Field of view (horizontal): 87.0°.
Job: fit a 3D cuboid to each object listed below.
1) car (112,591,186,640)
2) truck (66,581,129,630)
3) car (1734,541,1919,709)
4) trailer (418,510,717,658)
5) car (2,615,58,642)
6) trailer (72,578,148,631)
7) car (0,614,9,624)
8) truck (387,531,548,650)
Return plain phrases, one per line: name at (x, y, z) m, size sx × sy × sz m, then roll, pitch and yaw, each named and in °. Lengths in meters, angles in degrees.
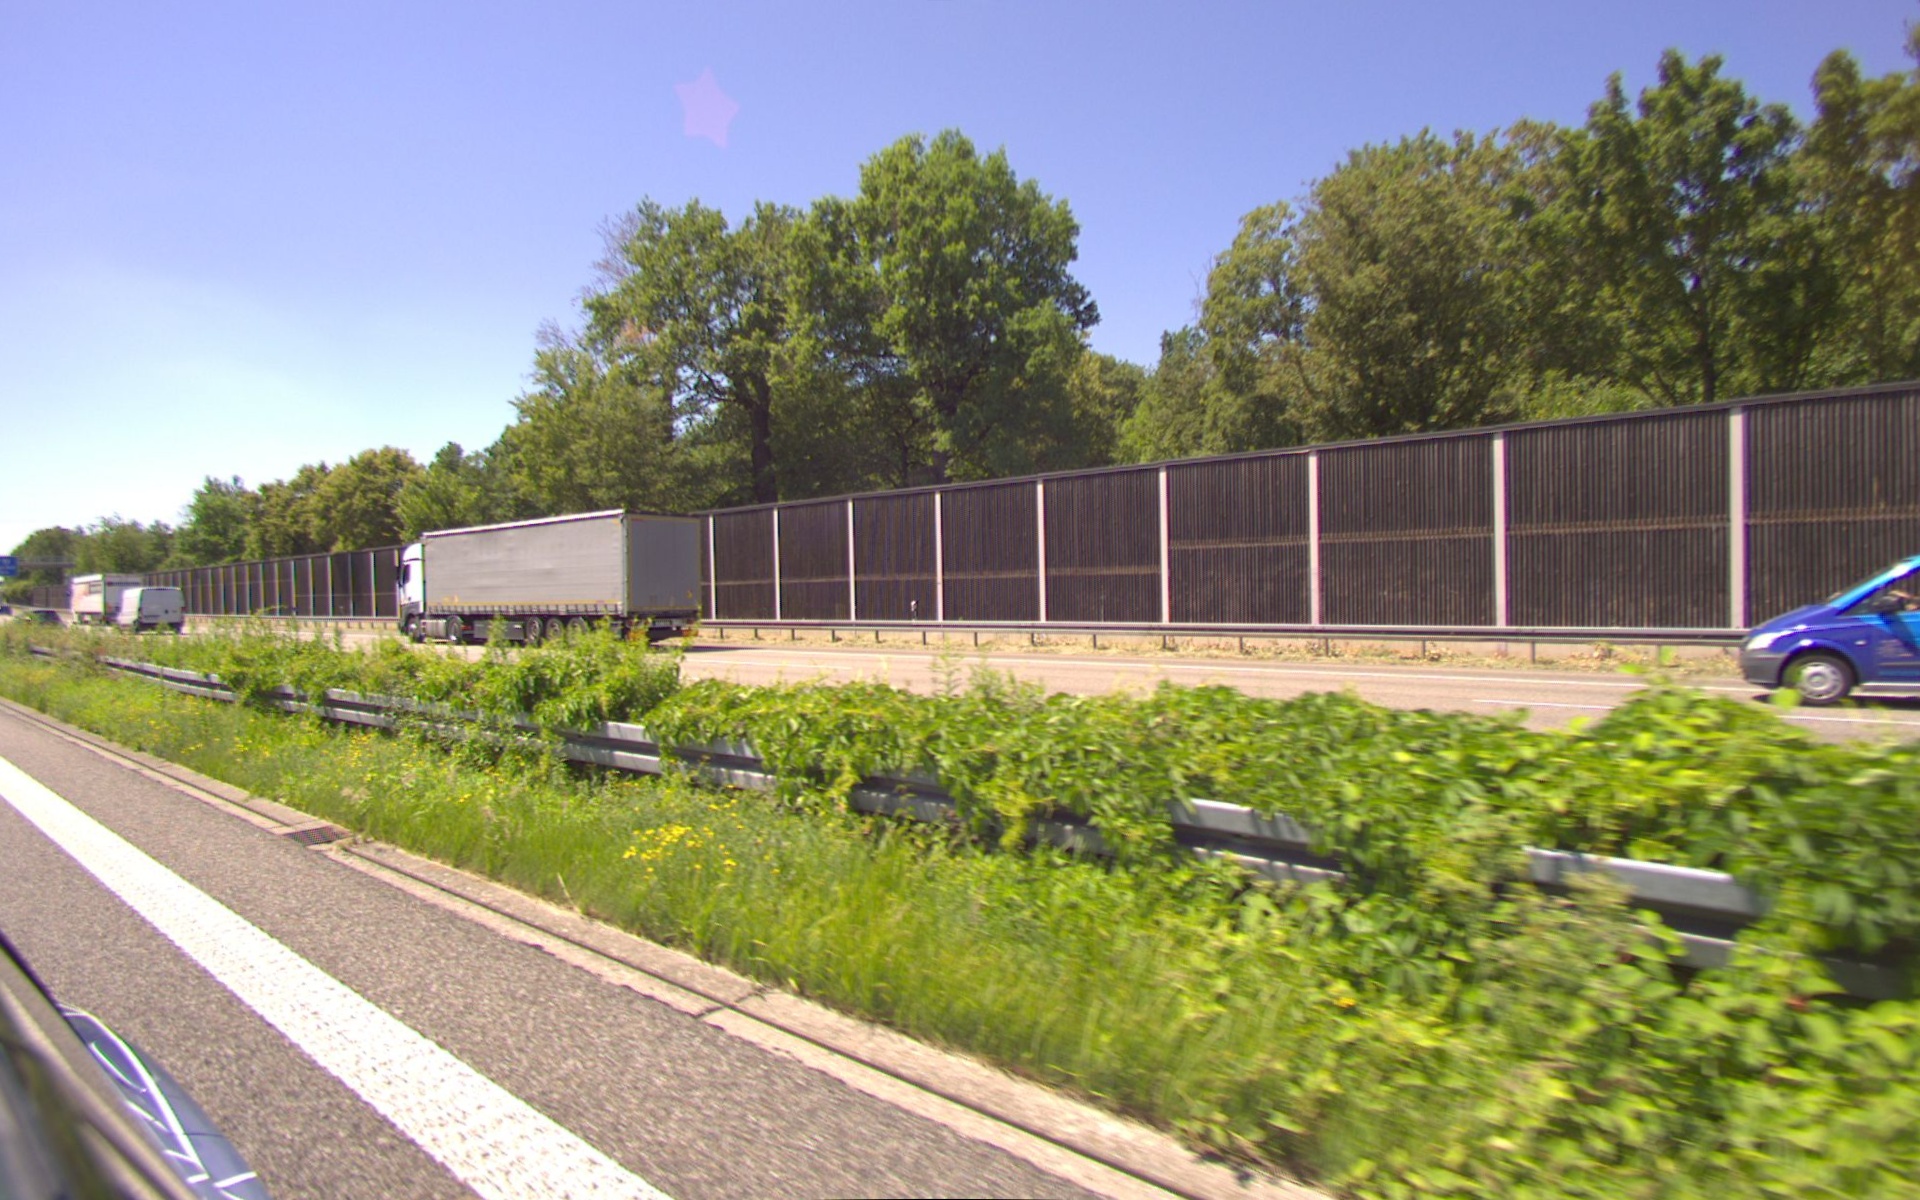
car at (-44.213, 0.851, 55.109) m, size 5.703 × 2.527 × 2.109 m, roll -1°, pitch -1°, yaw 41°
truck at (-74.464, 0.478, 87.306) m, size 7.963 × 4.060 × 3.079 m, roll -1°, pitch 0°, yaw 42°
car at (12.451, 0.260, 11.329) m, size 5.953 × 1.895 × 1.974 m, roll -1°, pitch 0°, yaw 39°
trailer at (-13.449, -0.363, 33.406) m, size 13.796 × 4.060 × 2.932 m, roll -1°, pitch 0°, yaw 40°
car at (-52.258, 1.570, 56.848) m, size 3.997 × 1.458 × 1.781 m, roll -1°, pitch 0°, yaw 40°
trailer at (-70.288, 0.405, 83.547) m, size 13.003 × 4.060 × 3.060 m, roll -1°, pitch 0°, yaw 42°
car at (-136.121, 2.703, 143.313) m, size 4.000 × 1.458 × 1.779 m, roll -1°, pitch 0°, yaw 43°
truck at (-18.344, -0.292, 37.539) m, size 6.590 × 4.060 × 2.922 m, roll -1°, pitch 0°, yaw 40°
